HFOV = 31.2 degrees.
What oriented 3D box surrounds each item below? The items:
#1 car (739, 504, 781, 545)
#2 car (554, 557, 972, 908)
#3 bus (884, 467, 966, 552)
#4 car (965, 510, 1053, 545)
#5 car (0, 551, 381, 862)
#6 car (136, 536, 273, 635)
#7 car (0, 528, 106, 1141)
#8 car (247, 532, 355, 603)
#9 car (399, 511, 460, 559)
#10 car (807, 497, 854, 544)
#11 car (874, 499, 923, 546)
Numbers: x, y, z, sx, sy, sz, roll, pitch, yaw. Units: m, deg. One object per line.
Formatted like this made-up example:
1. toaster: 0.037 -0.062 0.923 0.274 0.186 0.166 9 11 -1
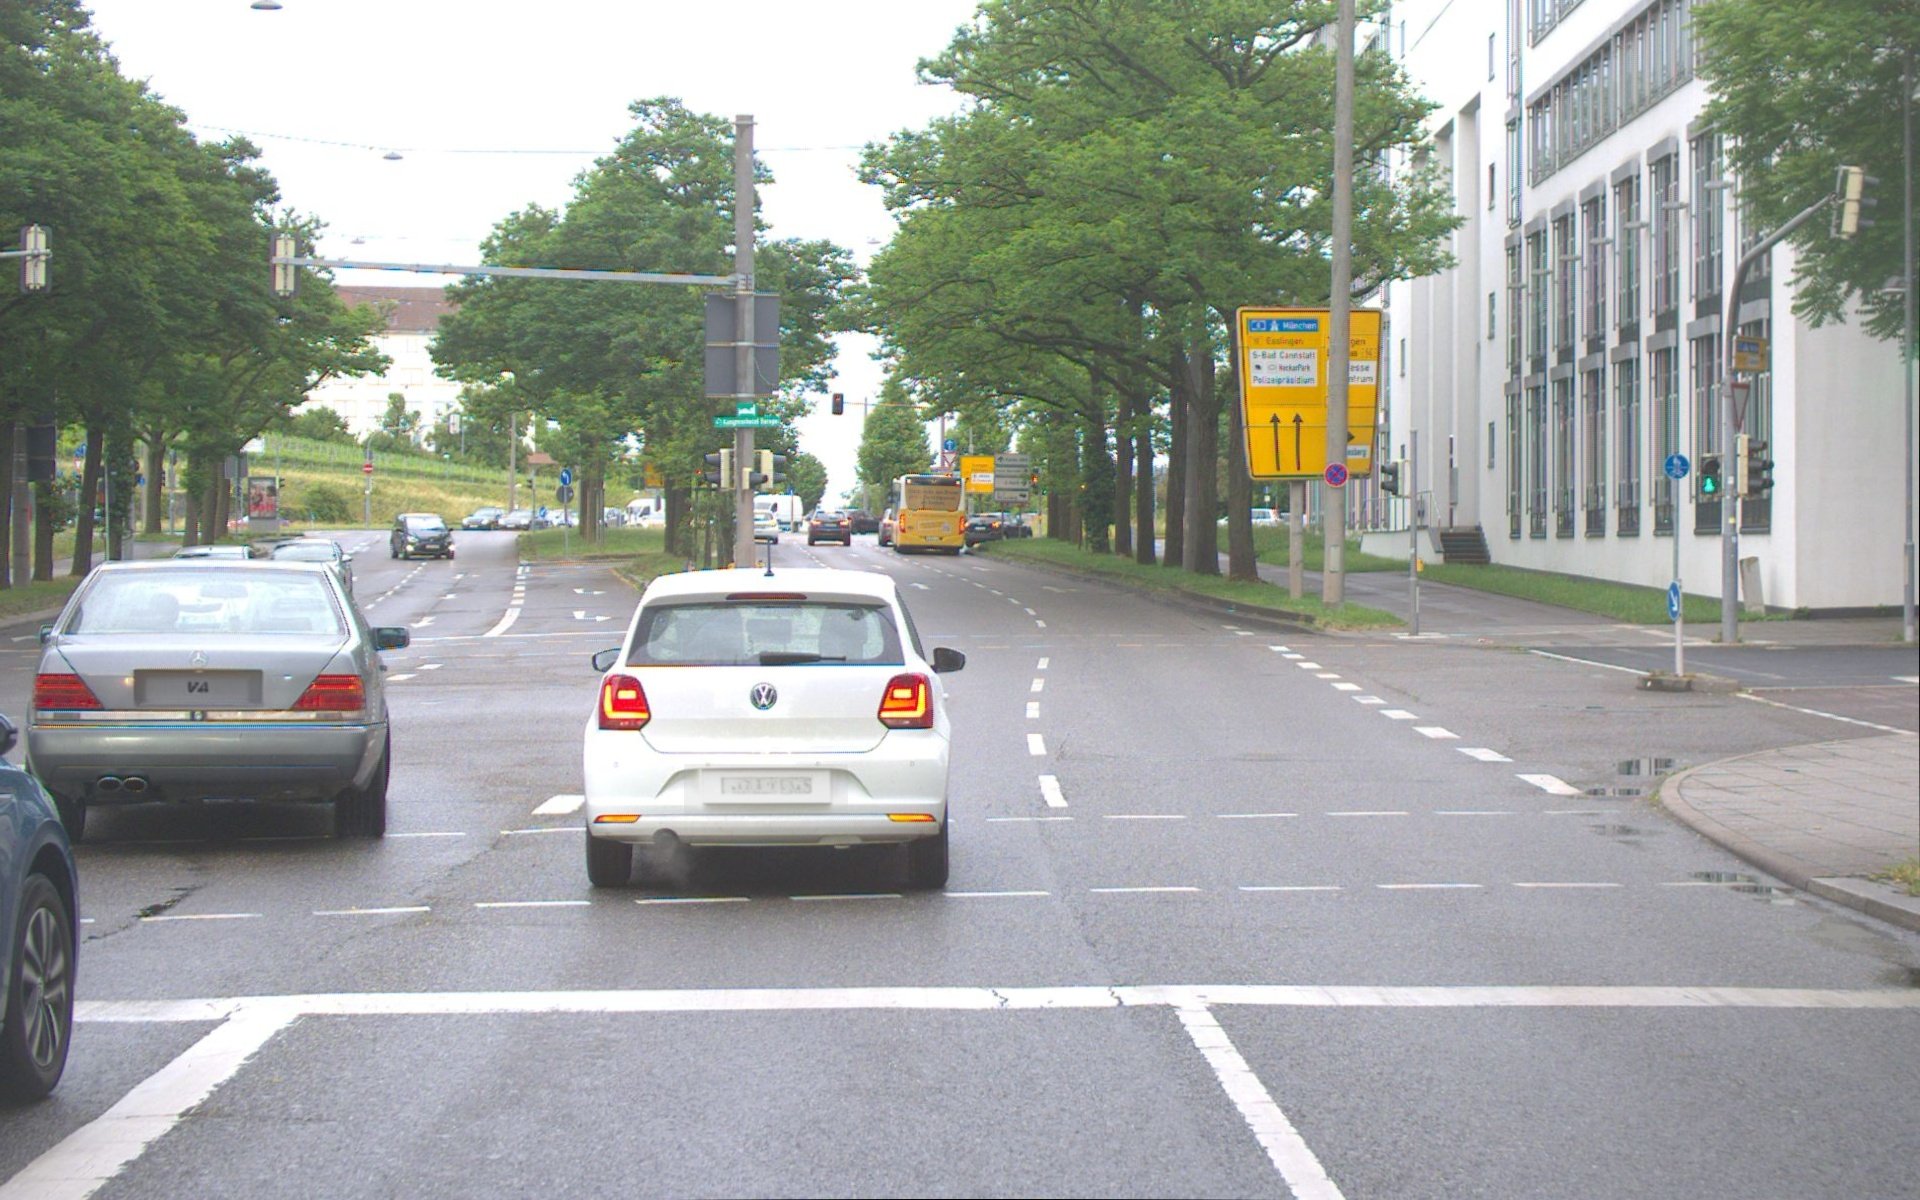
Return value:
1. car: -8.771 -3.318 150.804 1.794 1.735 4.001 -1 1 -4
2. car: -0.909 0.550 16.855 1.794 1.497 4.000 1 1 -2
3. bus: -1.451 -3.633 136.830 2.828 3.255 10.002 1 2 -3
4. car: 2.147 -3.126 149.160 1.699 1.510 3.818 0 1 43
5. car: -4.226 0.501 19.127 1.846 1.505 4.049 -1 1 -11
6. car: -12.492 -0.266 57.003 1.750 1.515 3.818 -1 2 -6
7. car: -3.395 0.632 7.886 1.772 1.591 4.197 -1 1 1
8. car: -14.249 -0.736 74.526 1.814 1.406 4.657 -2 2 -5
9. car: -19.464 -2.403 126.315 1.993 1.610 5.122 -2 2 -6
10. car: -5.634 -3.436 149.248 1.993 2.007 4.001 0 1 -3
11. car: -2.714 -3.391 150.394 1.993 2.007 4.001 0 1 -3
